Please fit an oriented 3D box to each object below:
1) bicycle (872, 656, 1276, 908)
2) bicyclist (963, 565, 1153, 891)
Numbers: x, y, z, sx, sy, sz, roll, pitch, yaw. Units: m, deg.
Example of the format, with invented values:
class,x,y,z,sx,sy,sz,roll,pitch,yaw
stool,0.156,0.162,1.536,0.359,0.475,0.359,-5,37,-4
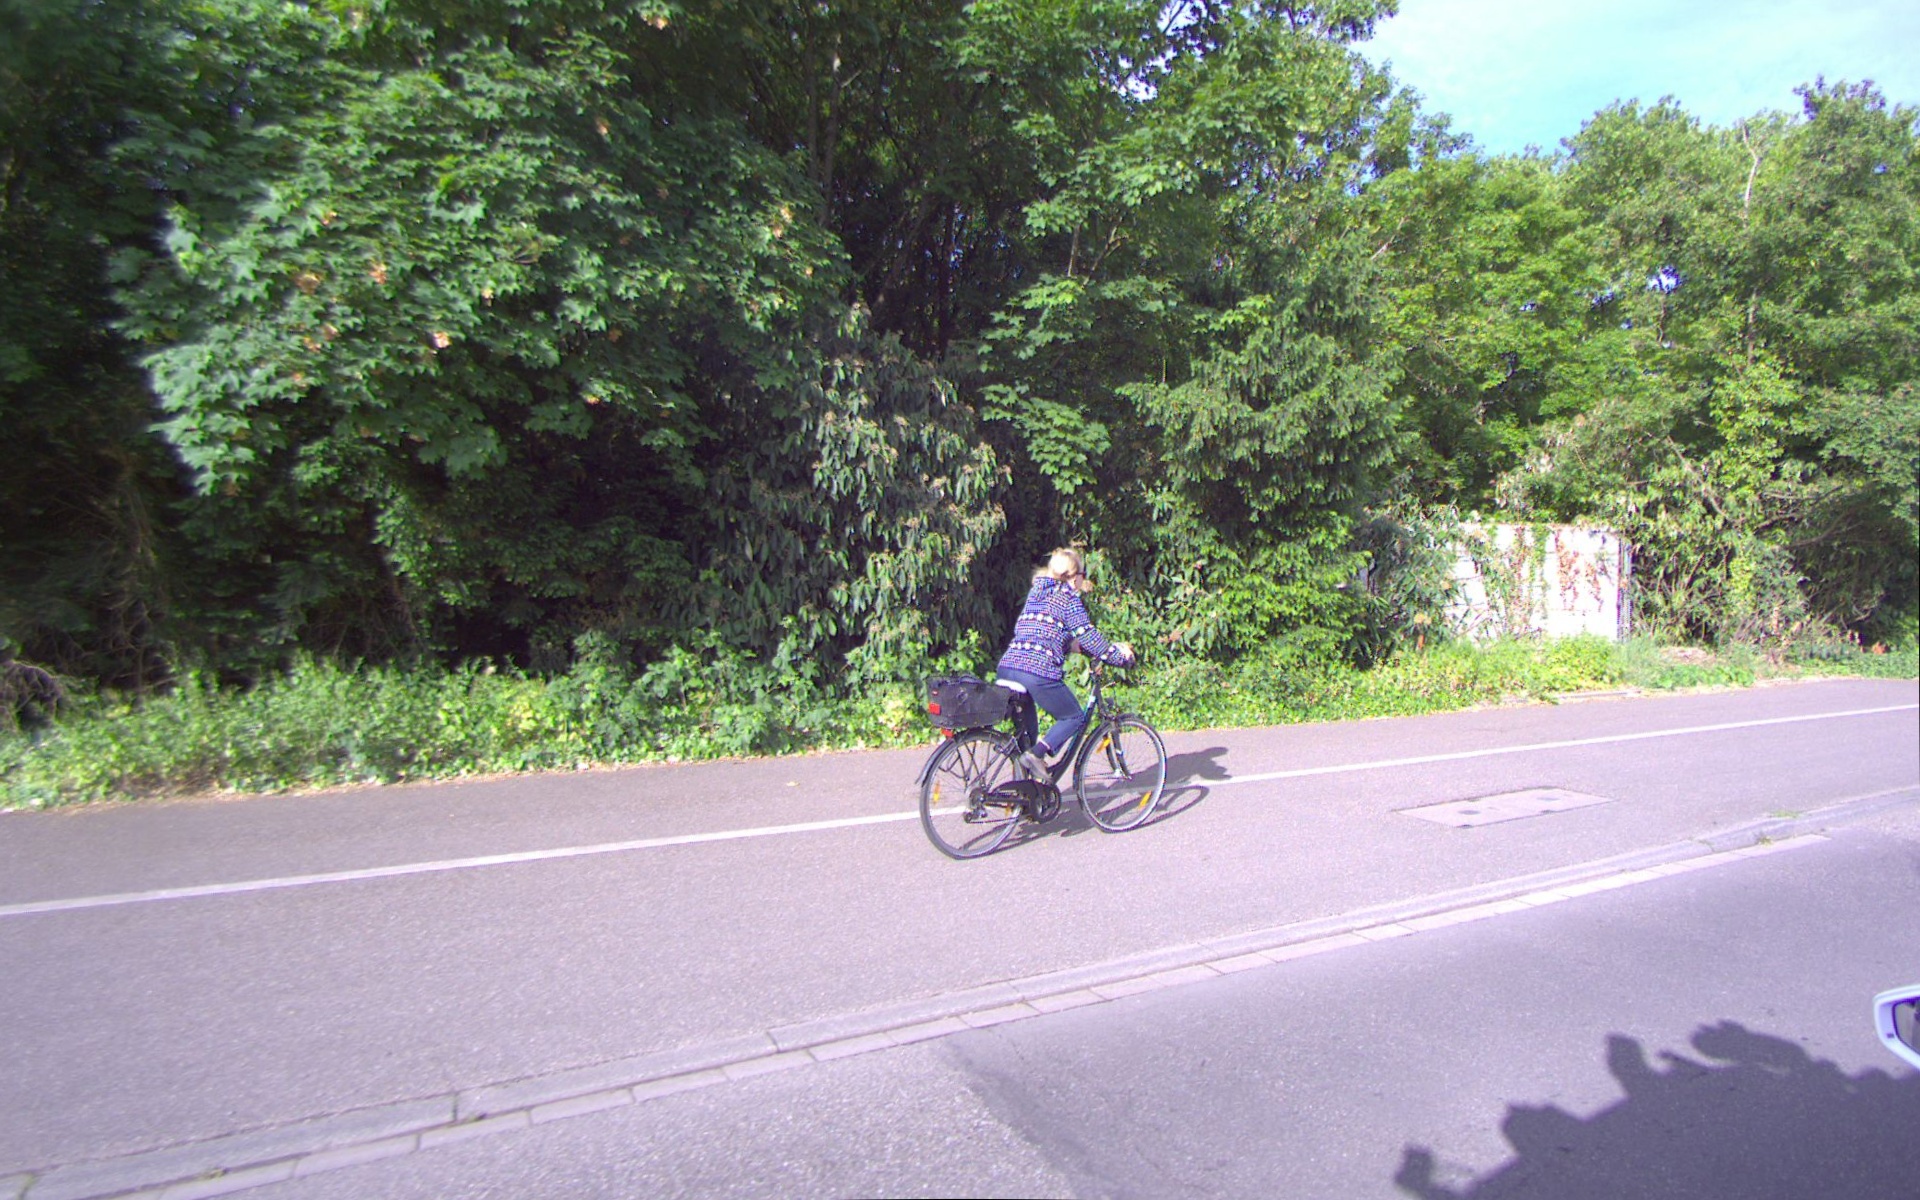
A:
class,x,y,z,sx,sy,sz,roll,pitch,yaw
bicycle,0.695,0.944,5.771,2.318,1.112,0.660,0,3,-27
bicyclist,0.545,0.657,5.696,0.872,1.699,0.606,-1,3,-27
